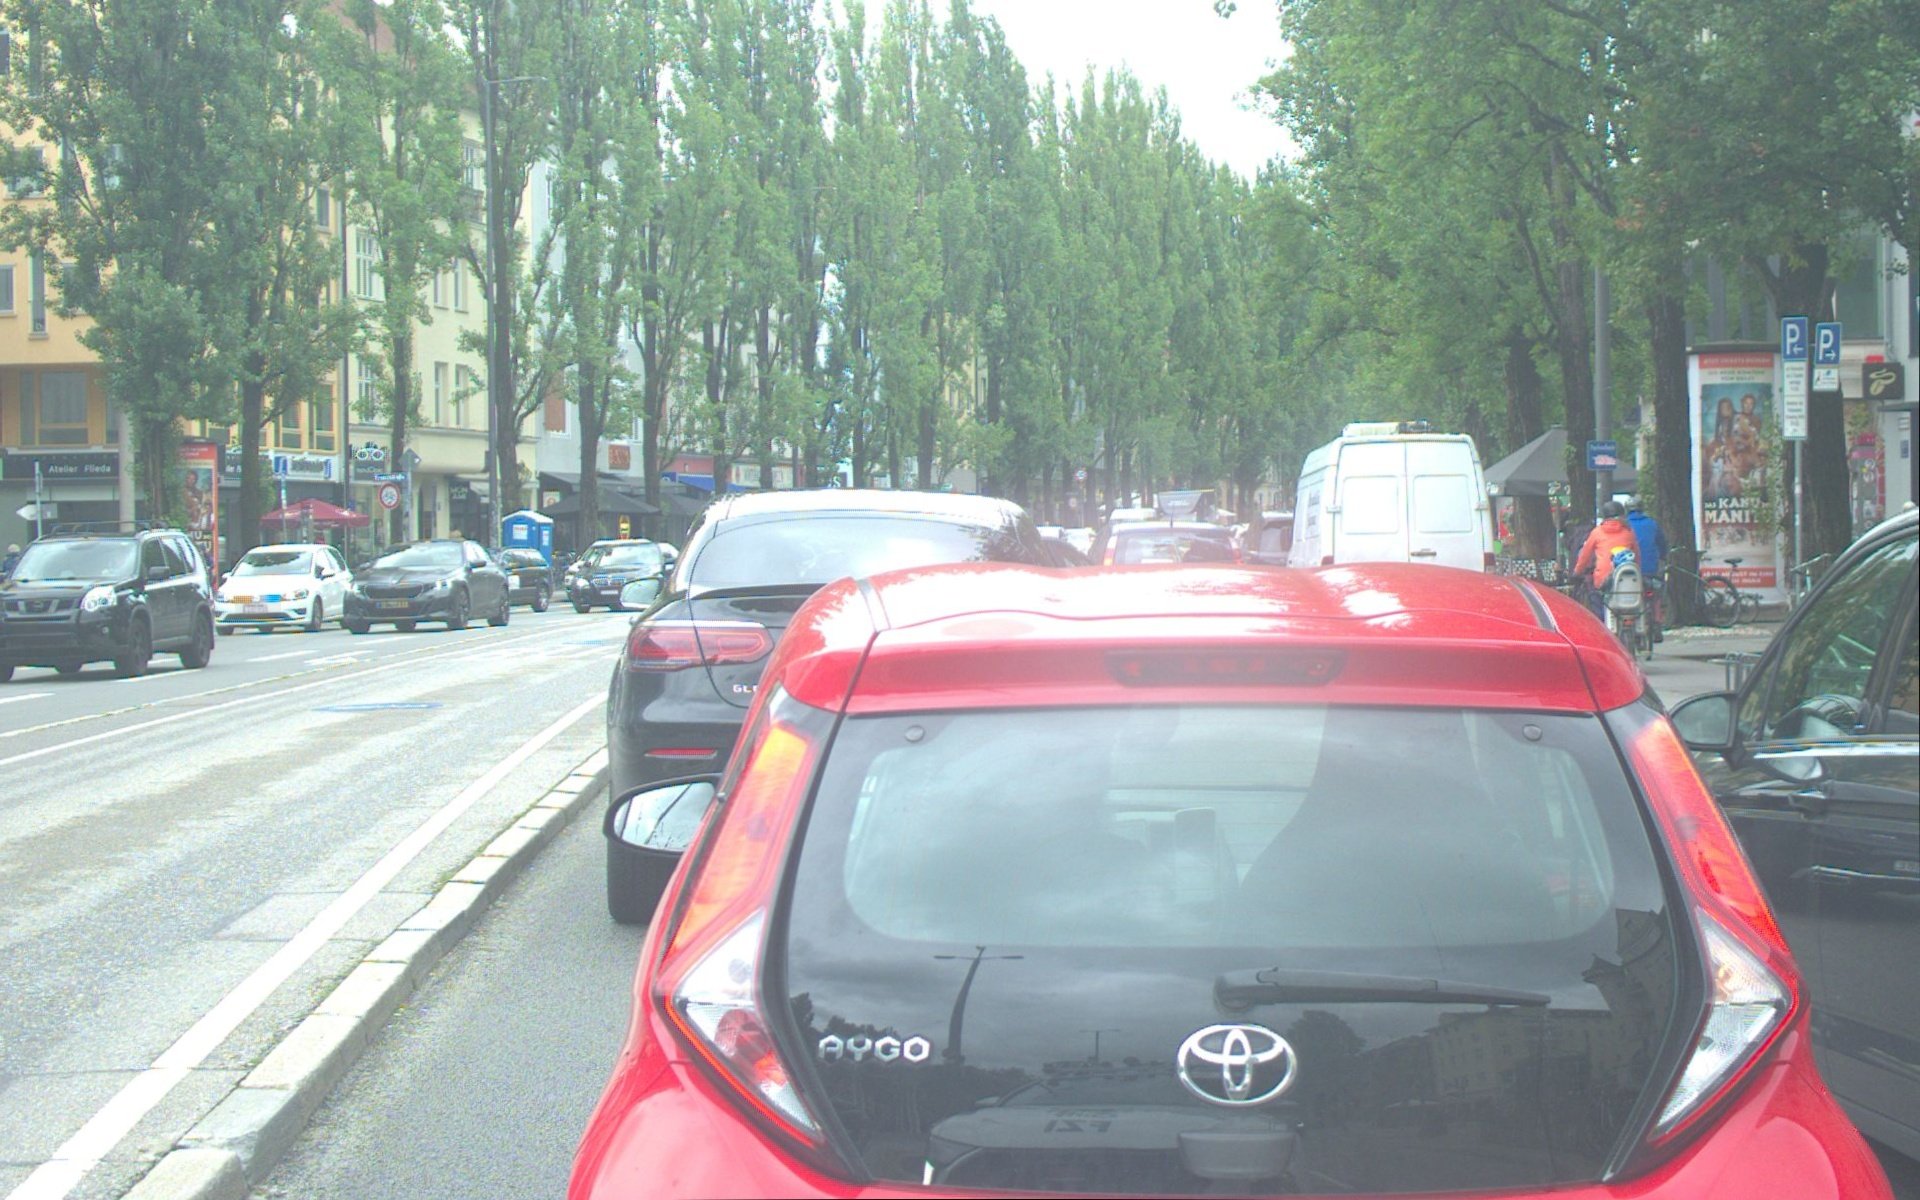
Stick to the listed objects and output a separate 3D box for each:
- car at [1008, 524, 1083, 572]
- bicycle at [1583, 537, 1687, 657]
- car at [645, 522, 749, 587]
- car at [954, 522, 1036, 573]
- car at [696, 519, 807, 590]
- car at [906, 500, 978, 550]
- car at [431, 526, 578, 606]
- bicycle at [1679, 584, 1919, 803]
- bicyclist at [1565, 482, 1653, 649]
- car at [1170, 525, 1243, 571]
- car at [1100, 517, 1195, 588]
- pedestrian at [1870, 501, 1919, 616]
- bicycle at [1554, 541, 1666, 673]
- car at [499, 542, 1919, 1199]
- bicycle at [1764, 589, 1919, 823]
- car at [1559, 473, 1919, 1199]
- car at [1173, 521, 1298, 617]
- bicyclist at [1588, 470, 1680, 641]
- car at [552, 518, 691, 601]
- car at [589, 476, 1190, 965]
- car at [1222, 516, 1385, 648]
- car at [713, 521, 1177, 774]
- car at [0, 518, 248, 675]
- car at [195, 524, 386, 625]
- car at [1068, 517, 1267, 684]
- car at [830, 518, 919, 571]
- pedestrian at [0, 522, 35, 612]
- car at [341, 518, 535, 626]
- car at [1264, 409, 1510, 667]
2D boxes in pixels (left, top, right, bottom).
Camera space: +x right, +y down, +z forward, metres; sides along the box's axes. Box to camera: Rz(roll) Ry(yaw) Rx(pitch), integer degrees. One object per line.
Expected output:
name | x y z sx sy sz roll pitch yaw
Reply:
car | 3.148 -1.918 125.186 1.994 1.686 4.412 -1 1 11
bicycle | 7.484 -0.056 38.222 0.614 1.260 2.520 -1 1 -1
car | -7.175 -1.265 94.309 1.994 1.686 4.920 -1 1 6
car | 1.225 -1.810 117.317 1.994 1.686 4.412 -1 1 11
car | -5.155 -1.154 85.772 1.994 1.686 4.920 -1 1 6
car | -0.700 -2.959 135.530 1.994 1.927 4.412 0 1 11
car | -10.127 -0.779 76.821 1.994 1.686 4.920 -1 1 8
bicycle | 4.855 0.492 18.527 1.836 1.132 0.585 0 2 35
bicyclist | 6.558 -0.362 34.785 0.614 1.652 1.251 -1 1 -1
car | 8.082 -1.702 112.518 1.774 1.434 3.936 0 1 13
car | 3.883 -0.998 71.591 1.699 1.421 3.497 -1 1 -1
pedestrian | 13.185 -0.583 47.992 0.764 1.588 0.676 -1 1 -1
bicycle | 6.582 0.049 34.919 0.614 1.260 2.520 -1 1 -1
car | 0.292 0.655 5.266 1.605 1.456 3.130 1 1 -1
bicycle | 4.980 0.524 17.062 1.836 1.132 0.585 0 2 35
car | 2.704 0.550 7.488 1.771 1.641 4.709 -1 1 -3
car | 4.530 -0.533 56.937 1.702 1.524 3.556 0 1 -1
bicyclist | 7.459 -0.499 38.082 0.762 1.863 1.133 -1 1 -1
car | -7.138 -0.883 72.986 1.994 1.686 4.920 0 1 6
car | -0.302 0.365 13.586 1.993 1.612 4.001 1 1 -2
car | 4.475 -0.265 45.205 1.702 1.657 3.556 0 1 -1
car | 0.012 0.259 22.239 1.921 1.481 3.914 0 1 17
car | -9.893 -0.092 39.709 1.994 1.686 4.921 0 1 4
car | -11.852 -0.490 61.182 1.994 1.686 4.920 -1 1 6
car | 2.033 -0.035 34.566 1.702 1.584 3.556 -1 1 -1
car | -2.784 -1.838 113.175 1.994 1.686 4.412 -1 1 11
pedestrian | -21.194 -0.743 77.091 0.687 1.990 0.765 -1 1 -1
car | -8.574 -0.498 56.907 1.994 1.686 4.920 -1 1 6
car | 4.750 -0.711 38.907 2.107 2.709 4.804 -1 1 0
